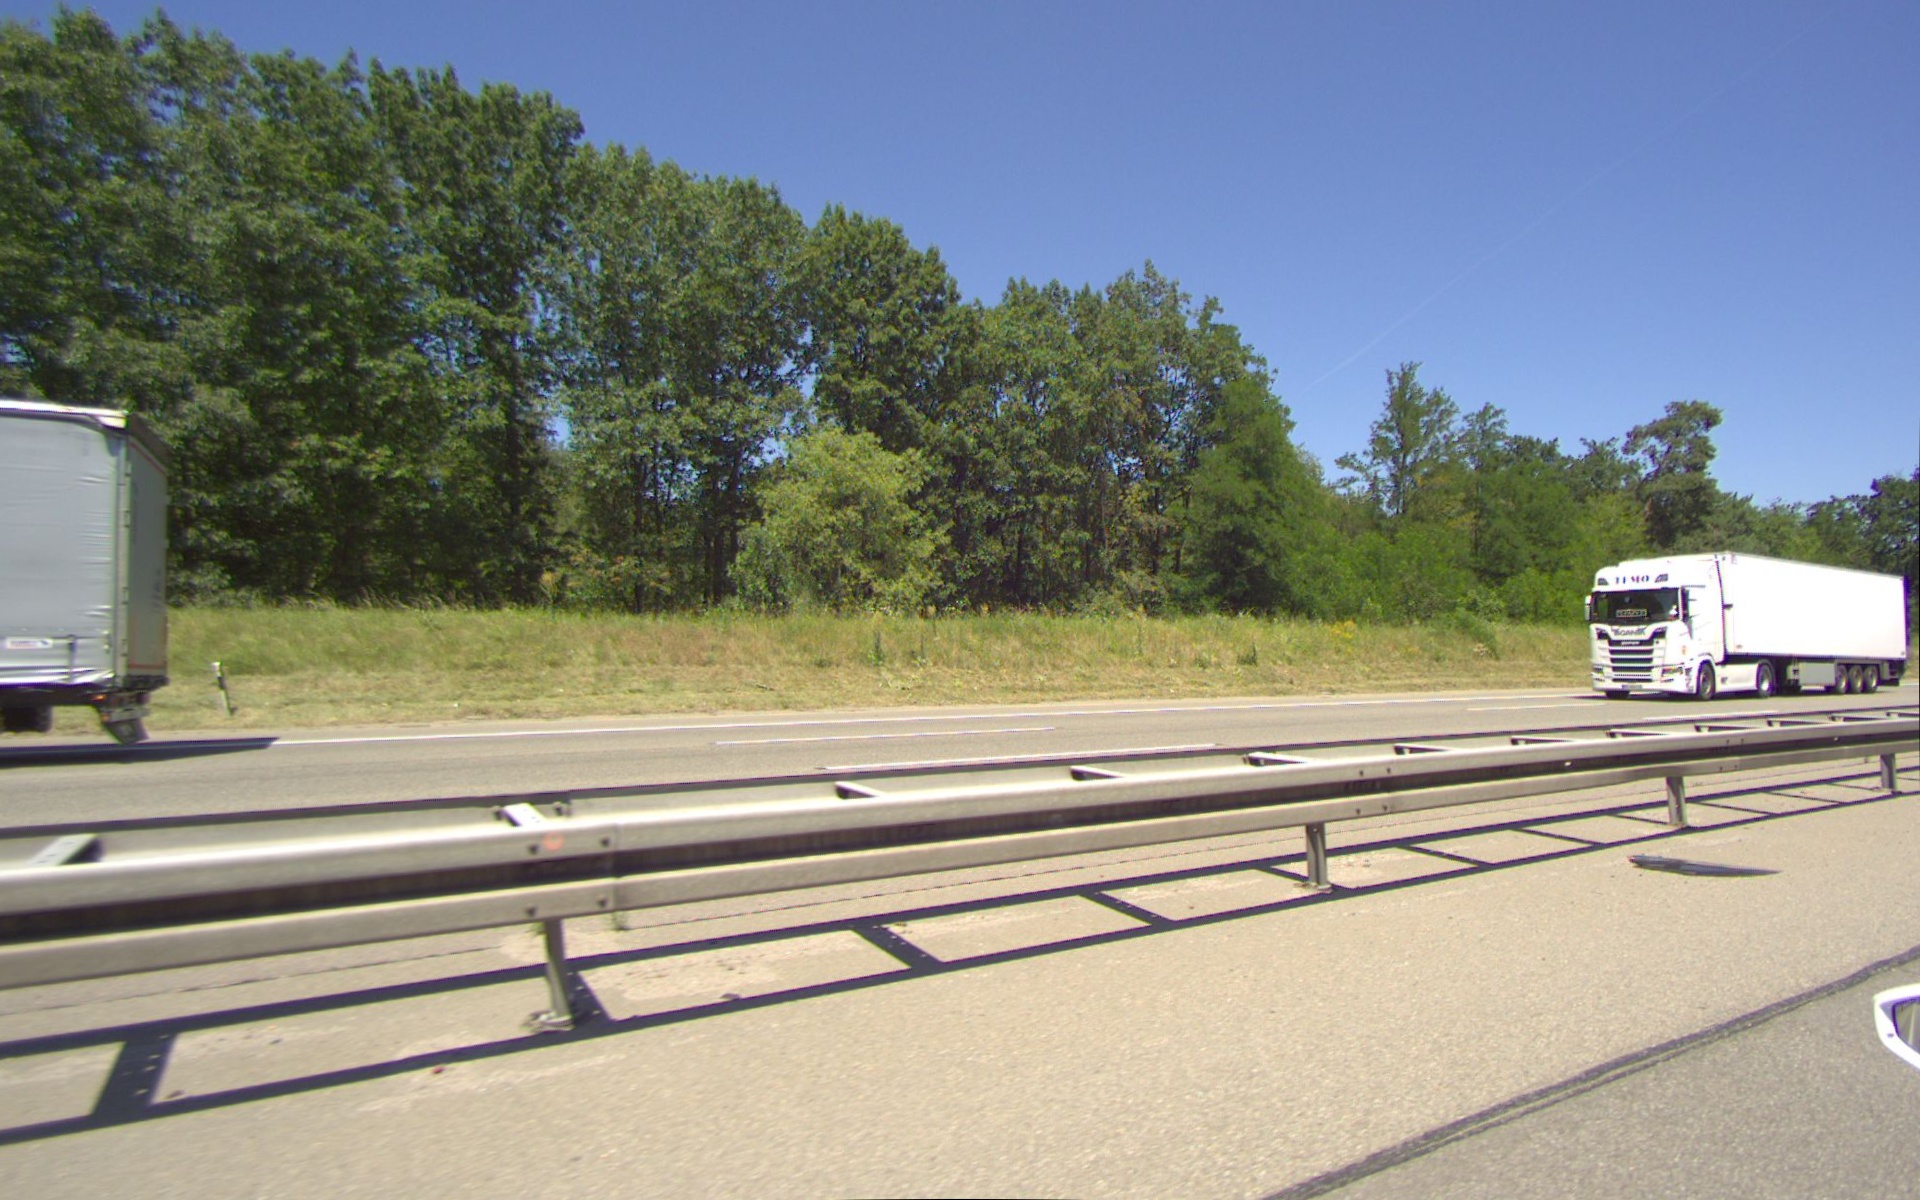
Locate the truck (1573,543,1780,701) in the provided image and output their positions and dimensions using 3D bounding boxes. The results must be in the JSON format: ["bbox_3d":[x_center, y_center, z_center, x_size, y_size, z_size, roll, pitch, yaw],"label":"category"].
[{"bbox_3d":[21.196,0.721,29.661,6.118,4.241,2.689,2,-3,-31],"label":"truck"}]

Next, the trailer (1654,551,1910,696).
[{"bbox_3d":[27.738,0.876,33.610,11.925,4.241,2.689,2,-3,-31],"label":"trailer"}]

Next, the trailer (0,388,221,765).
[{"bbox_3d":[-16.164,-0.348,9.512,14.429,4.223,2.656,2,-3,-31],"label":"trailer"}]
